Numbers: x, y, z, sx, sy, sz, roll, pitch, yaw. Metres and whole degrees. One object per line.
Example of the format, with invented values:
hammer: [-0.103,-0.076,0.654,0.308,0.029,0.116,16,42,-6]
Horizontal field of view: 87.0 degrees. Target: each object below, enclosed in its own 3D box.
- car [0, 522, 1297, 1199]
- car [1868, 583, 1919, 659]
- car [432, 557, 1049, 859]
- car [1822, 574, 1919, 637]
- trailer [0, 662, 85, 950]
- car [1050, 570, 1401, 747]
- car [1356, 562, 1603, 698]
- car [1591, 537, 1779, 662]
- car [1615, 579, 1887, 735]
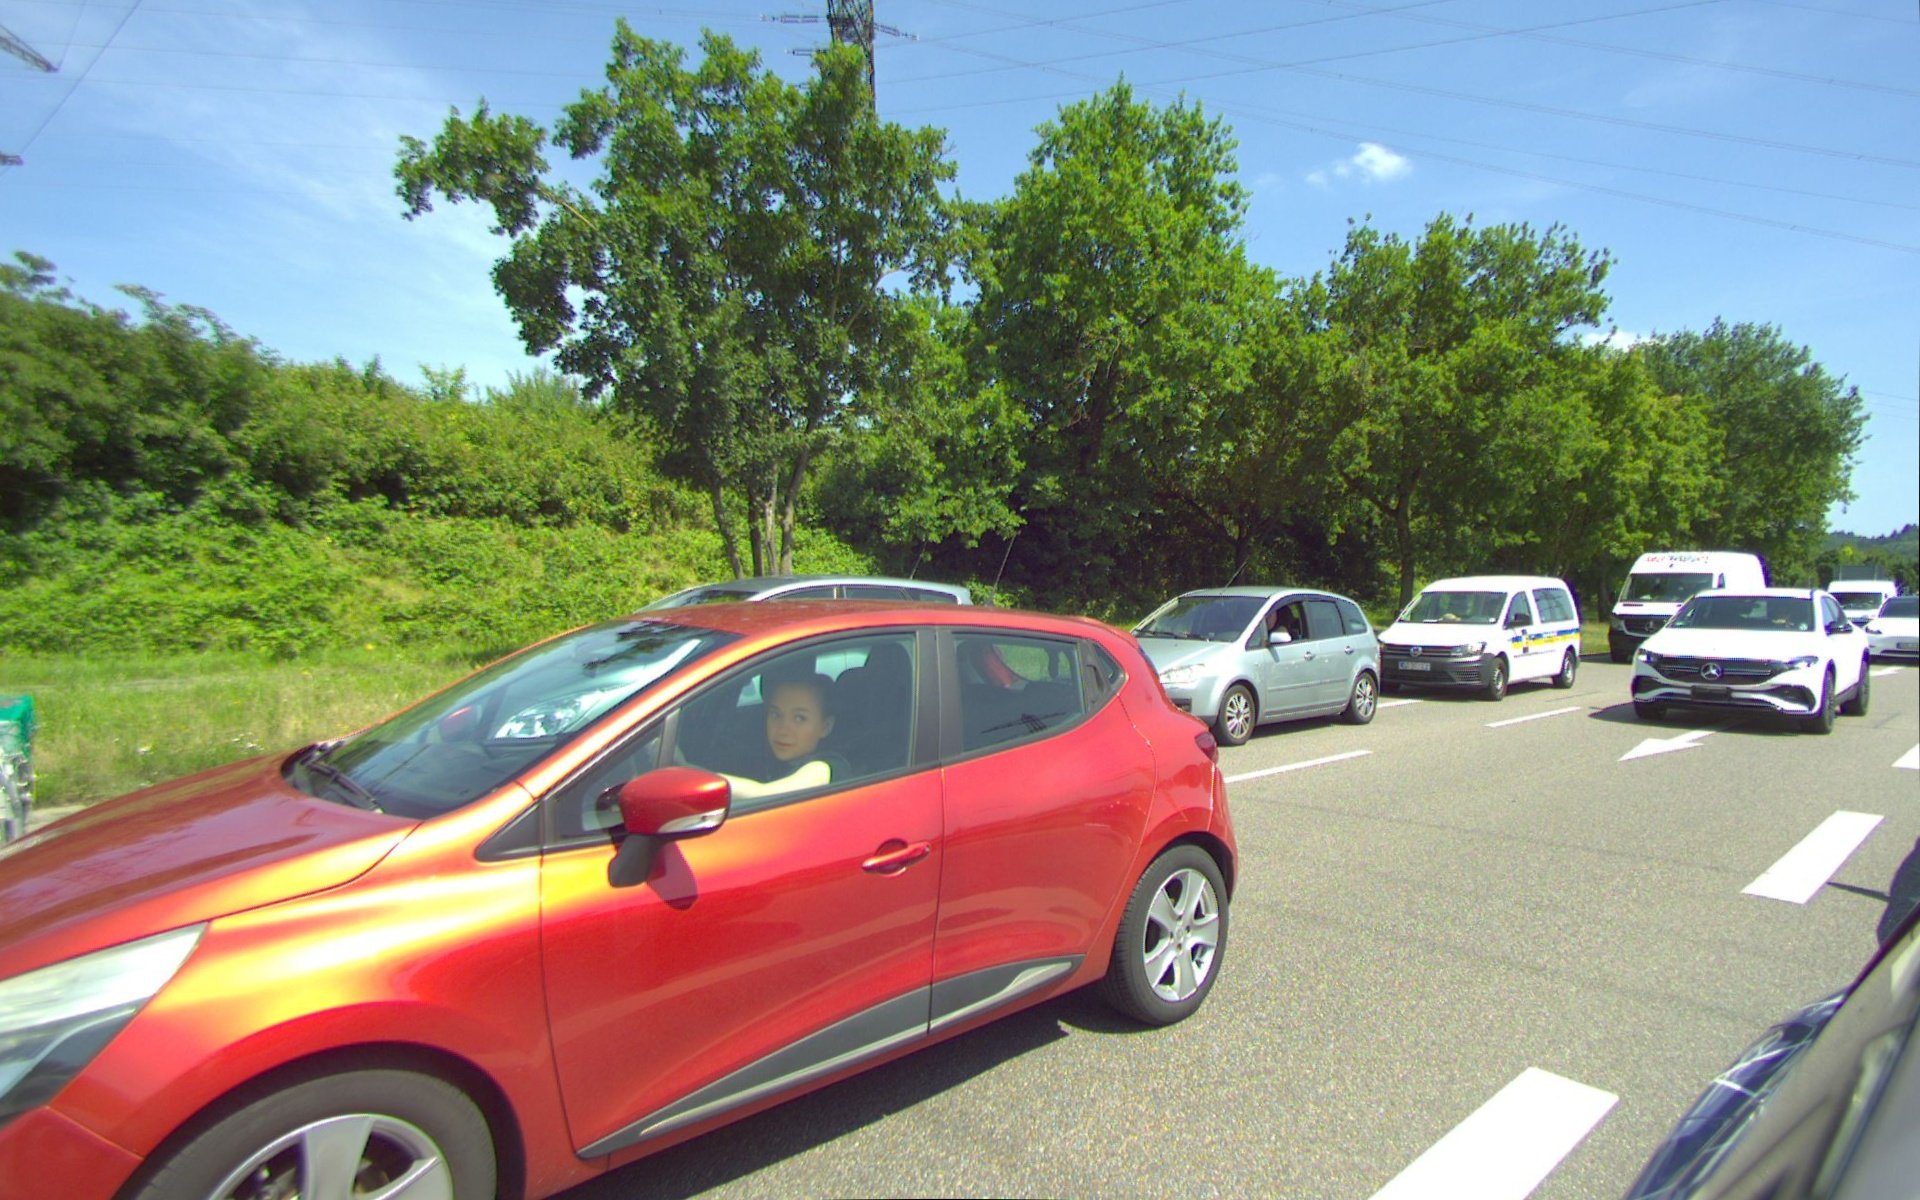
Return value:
car: [-0.762,0.622,3.201,3.995,1.480,1.745,0,0,-42]
car: [23.131,0.474,23.998,3.932,1.703,2.019,0,0,-43]
car: [-1.410,0.557,7.436,4.092,1.615,1.768,0,1,-41]
car: [38.025,0.214,42.203,5.712,2.453,2.306,0,0,-41]
trailer: [-5.368,0.852,3.696,3.266,1.019,1.709,0,0,-41]
car: [3.091,0.527,11.292,4.197,1.614,1.746,0,0,-41]
car: [8.294,0.394,15.939,4.950,1.823,1.807,0,0,-42]
car: [17.658,-0.022,24.457,6.897,2.640,2.230,0,0,-42]
car: [9.788,0.573,12.403,4.287,1.588,1.849,0,0,-41]
